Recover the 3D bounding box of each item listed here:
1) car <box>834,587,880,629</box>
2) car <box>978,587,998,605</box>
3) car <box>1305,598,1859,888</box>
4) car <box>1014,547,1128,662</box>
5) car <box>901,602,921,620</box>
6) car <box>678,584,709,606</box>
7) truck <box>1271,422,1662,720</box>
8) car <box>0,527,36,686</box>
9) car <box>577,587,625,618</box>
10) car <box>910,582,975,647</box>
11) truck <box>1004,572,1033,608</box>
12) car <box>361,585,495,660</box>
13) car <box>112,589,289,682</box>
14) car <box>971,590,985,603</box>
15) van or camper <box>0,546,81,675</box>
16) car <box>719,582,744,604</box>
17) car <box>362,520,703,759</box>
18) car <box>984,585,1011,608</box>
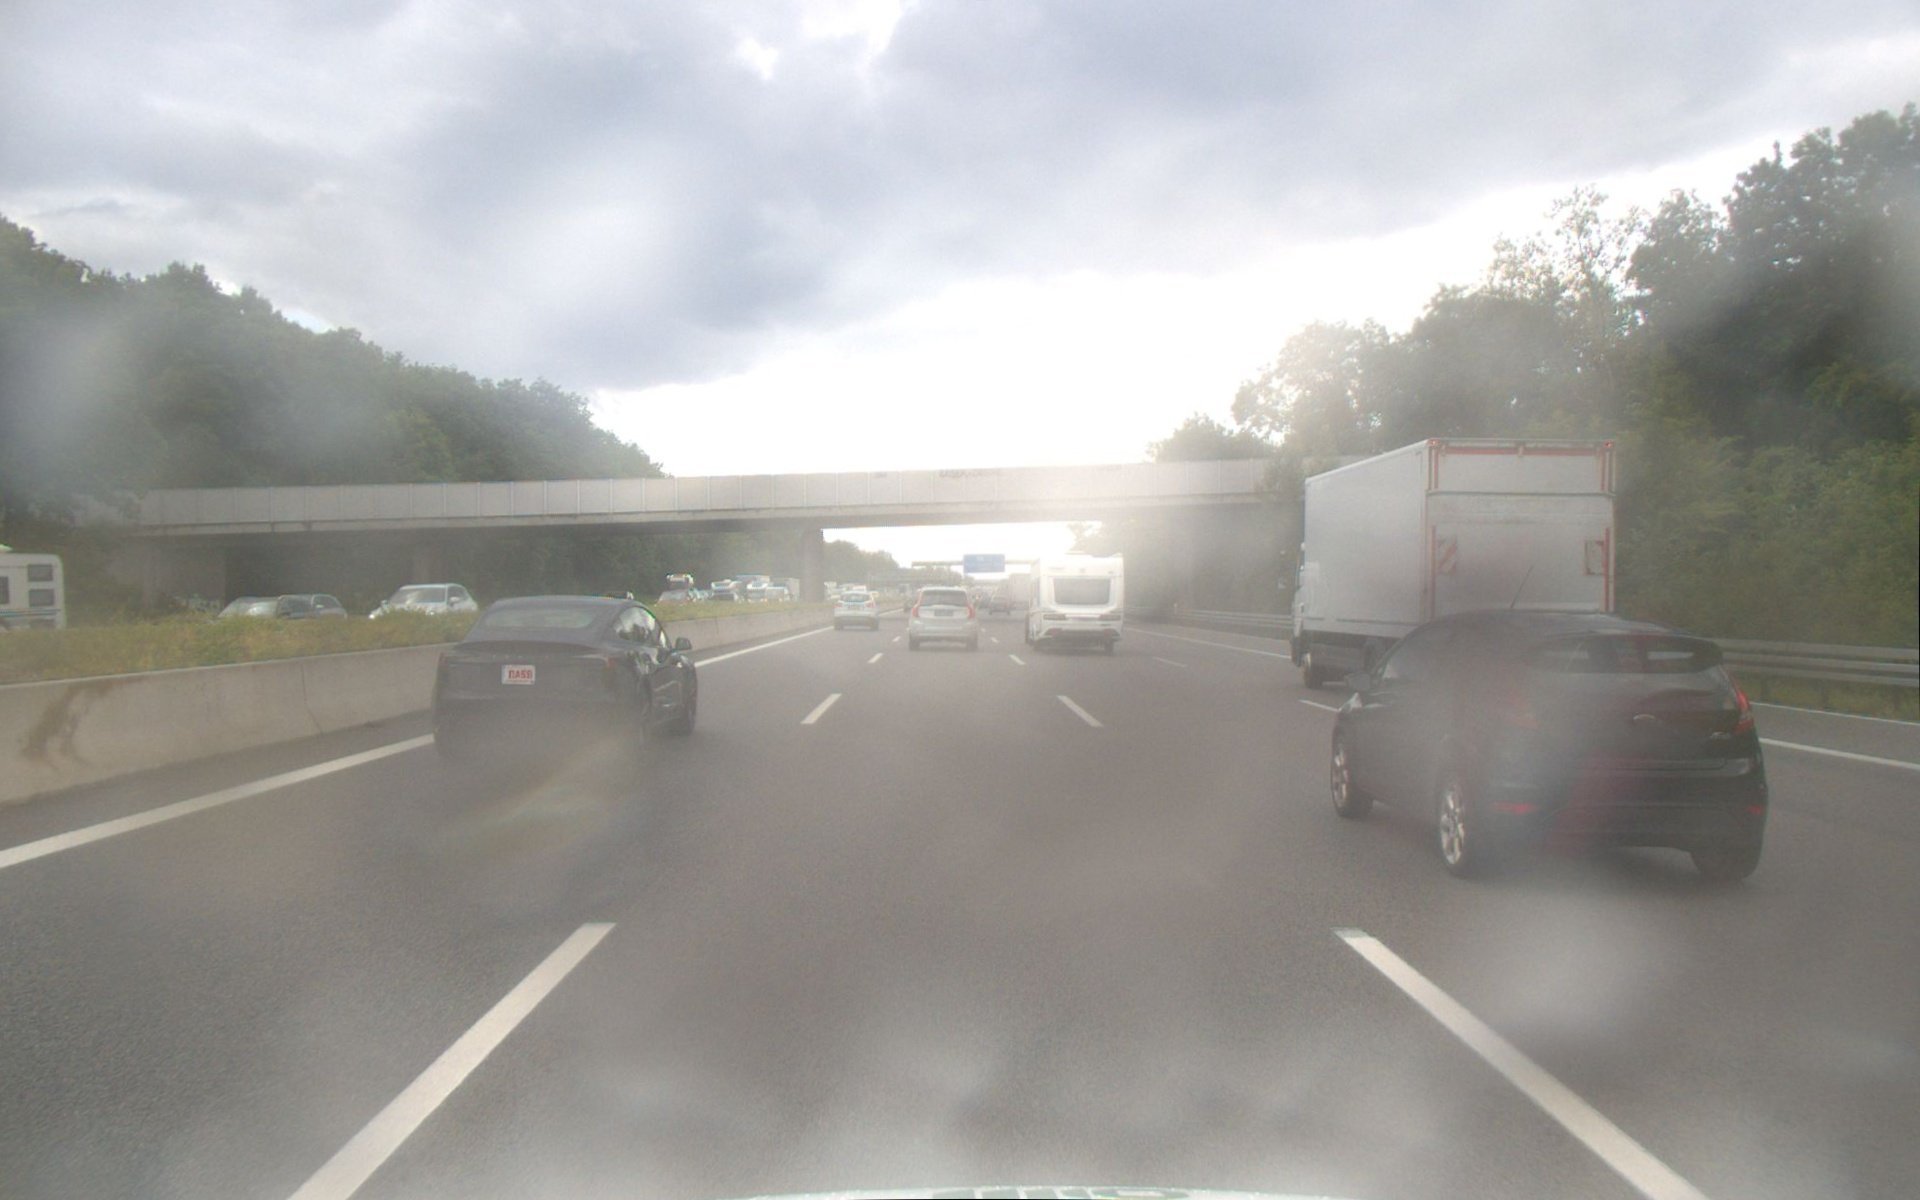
[{"bbox_3d":[-4.457,0.316,72.114,1.778,1.719,4.851,0,1,-1],"label":"car"},{"bbox_3d":[2.971,-0.433,177.673,2.002,1.855,4.903,0,0,-1],"label":"car"},{"bbox_3d":[3.583,0.720,10.474,1.846,1.431,4.282,0,0,-1],"label":"car"},{"bbox_3d":[2.996,0.098,46.671,2.515,2.946,7.531,0,0,-1],"label":"car"},{"bbox_3d":[-4.315,0.945,146.985,1.745,1.507,4.352,0,0,-1],"label":"car"},{"bbox_3d":[-25.100,-0.475,155.750,2.175,1.986,4.827,0,0,-1],"label":"car"},{"bbox_3d":[7.392,-0.398,26.031,3.069,3.774,9.846,0,0,0],"label":"truck"},{"bbox_3d":[-14.287,0.094,21.202,1.953,2.219,5.288,0,0,-1],"label":"car"},{"bbox_3d":[-23.421,0.153,108.103,2.175,1.986,4.827,0,0,-1],"label":"car"},{"bbox_3d":[-0.501,0.389,47.012,1.744,1.746,4.352,0,0,-1],"label":"car"},{"bbox_3d":[6.469,-1.115,184.449,2.847,3.876,7.272,0,0,-1],"label":"truck"},{"bbox_3d":[-14.156,0.544,44.365,1.953,1.882,5.224,0,0,-1],"label":"car"},{"bbox_3d":[-17.805,0.774,39.036,2.002,2.049,4.787,0,0,-1],"label":"car"},{"bbox_3d":[2.684,-0.469,242.520,2.001,1.855,4.904,0,0,0],"label":"car"},{"bbox_3d":[-21.896,0.219,34.781,2.552,2.754,8.123,0,0,-1],"label":"van or camper"},{"bbox_3d":[-21.285,-0.637,154.035,1.953,2.049,3.998,0,0,-2],"label":"car"},{"bbox_3d":[-3.727,0.295,15.468,1.953,1.852,5.161,0,0,-1],"label":"car"},{"bbox_3d":[3.058,-0.311,134.612,2.002,1.855,4.903,0,0,-1],"label":"car"}]
